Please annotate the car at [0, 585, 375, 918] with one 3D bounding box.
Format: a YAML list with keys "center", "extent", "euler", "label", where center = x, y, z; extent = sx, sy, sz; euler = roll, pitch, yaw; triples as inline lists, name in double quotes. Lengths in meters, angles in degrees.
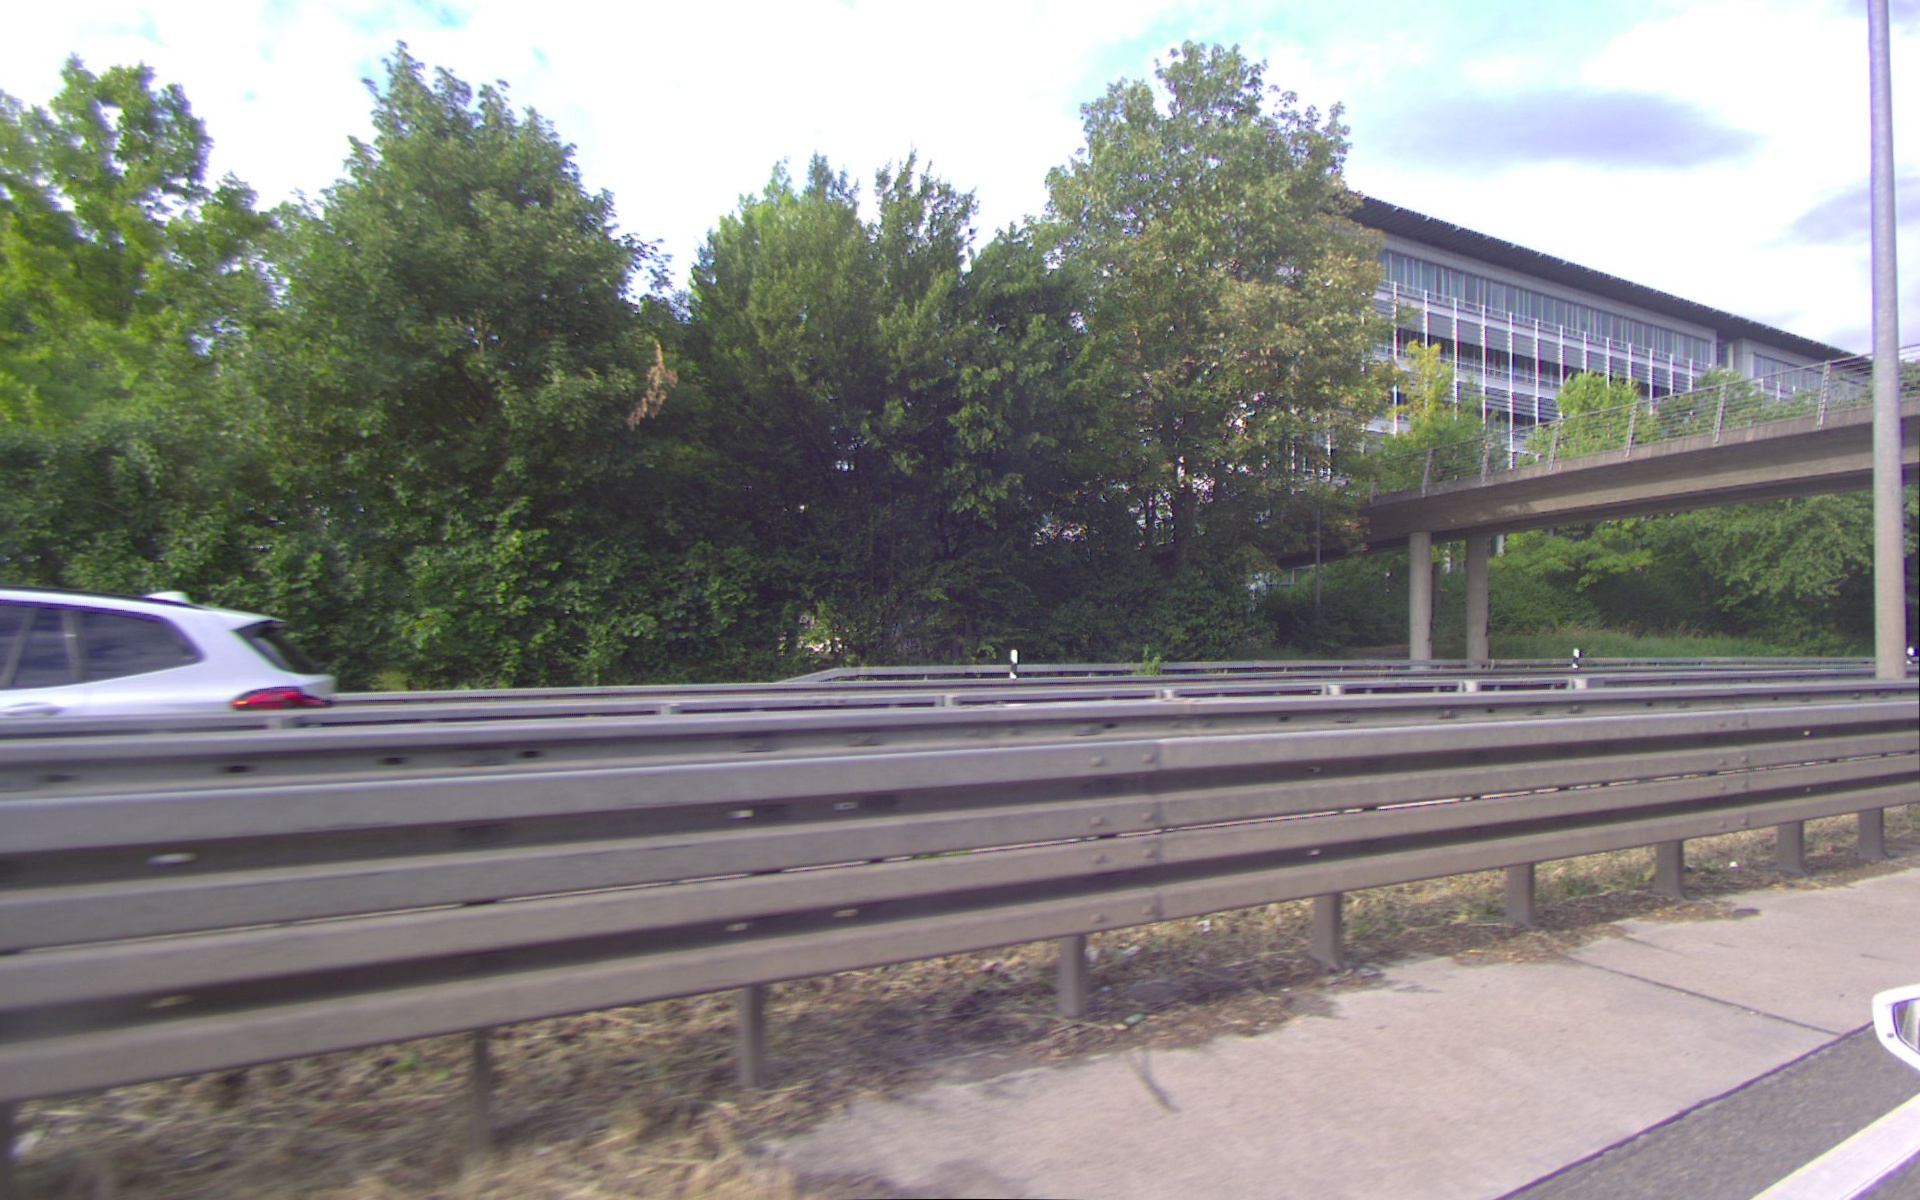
- center: [-5.806, 0.726, 5.205]
  extent: [4.734, 1.605, 1.814]
  euler: [1, -2, -30]
  label: "car"
